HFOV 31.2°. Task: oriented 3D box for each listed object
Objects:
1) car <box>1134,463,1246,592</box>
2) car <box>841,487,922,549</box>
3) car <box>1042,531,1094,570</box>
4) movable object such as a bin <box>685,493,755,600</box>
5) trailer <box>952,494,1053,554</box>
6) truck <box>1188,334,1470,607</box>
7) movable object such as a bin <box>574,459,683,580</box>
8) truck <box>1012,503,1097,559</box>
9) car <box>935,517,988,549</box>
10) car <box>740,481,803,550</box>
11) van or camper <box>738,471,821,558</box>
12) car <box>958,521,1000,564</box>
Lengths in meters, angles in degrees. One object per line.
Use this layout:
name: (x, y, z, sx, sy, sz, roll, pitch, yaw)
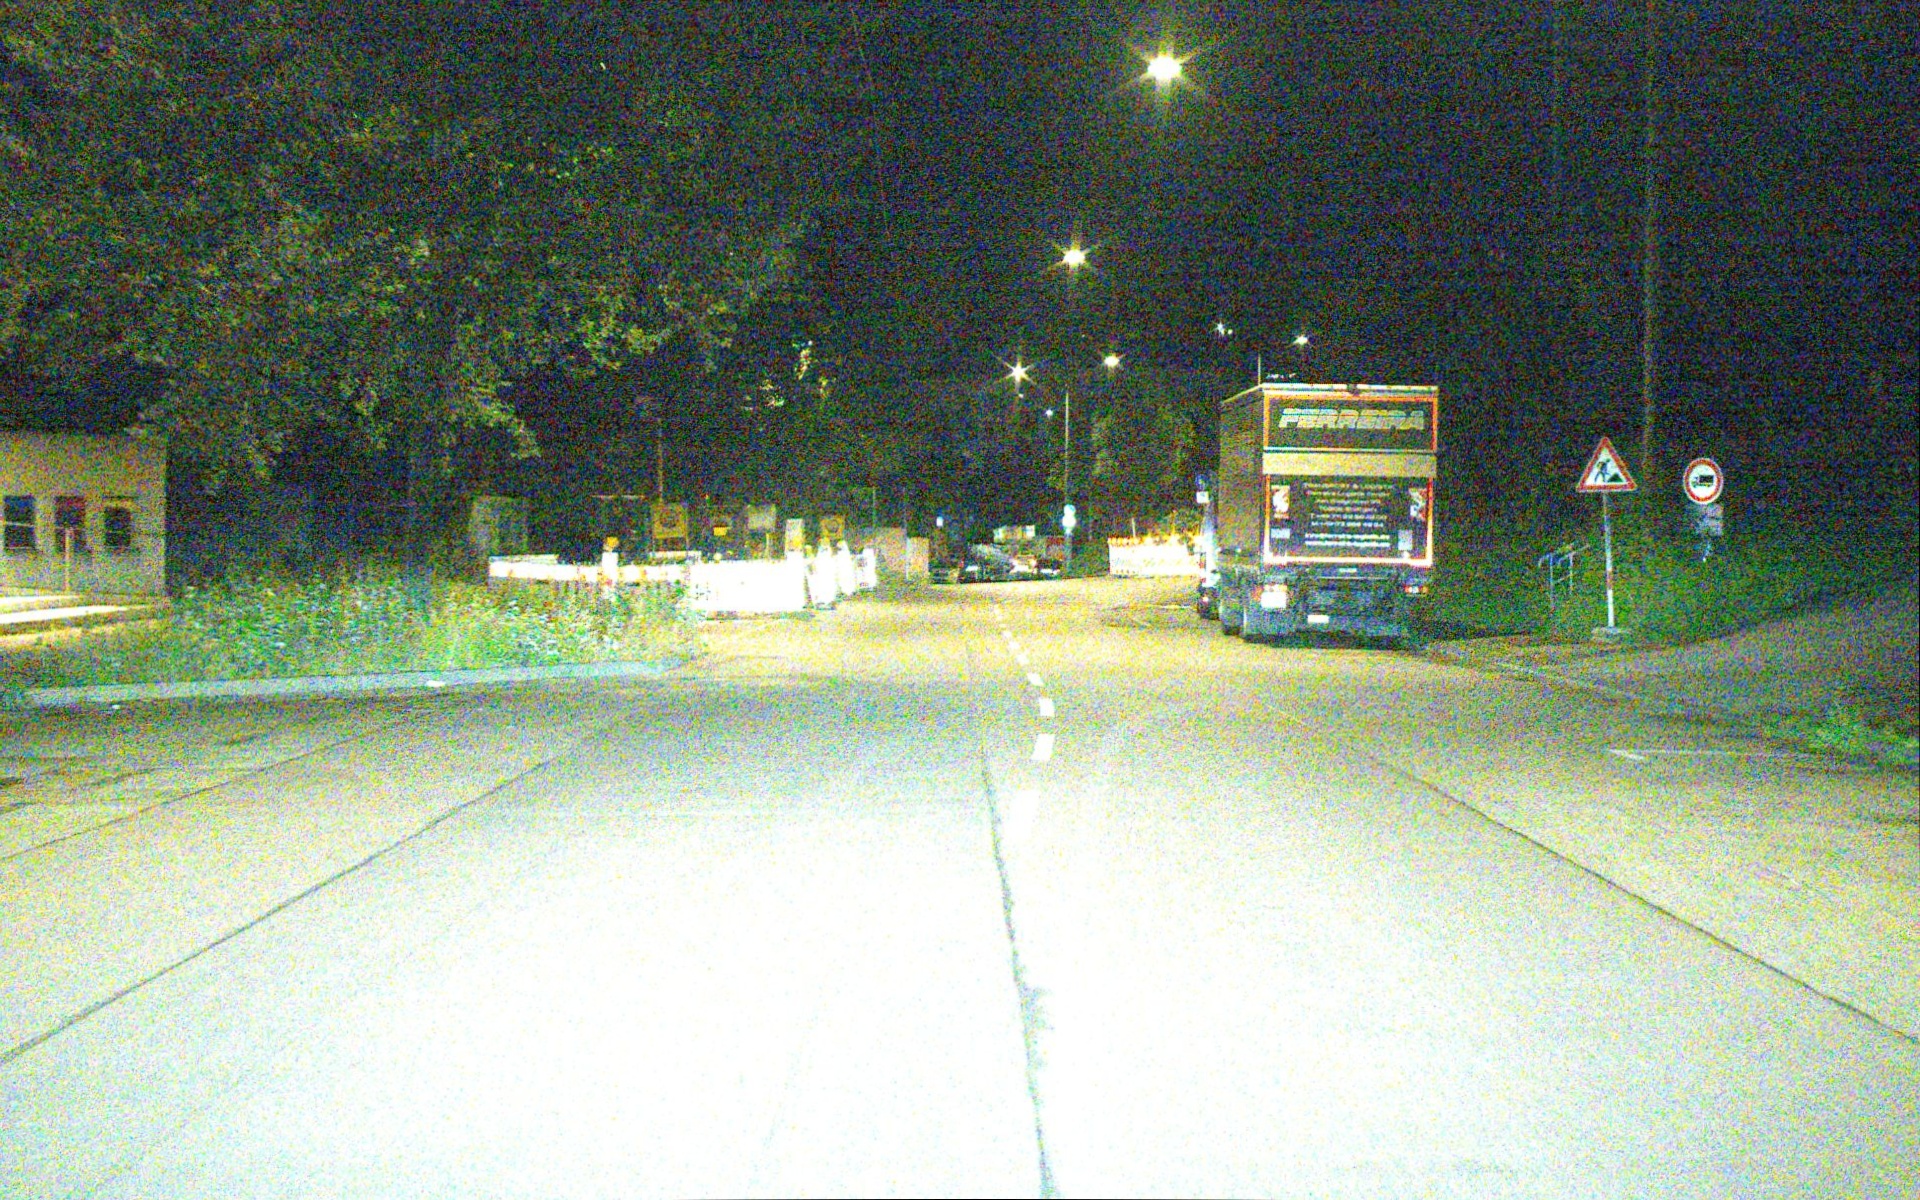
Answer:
car: (4.726, -1.509, 71.401, 2.109, 2.507, 6.371, 2, 1, 3)
car: (-4.160, -4.328, 183.414, 2.520, 3.160, 7.133, -1, 0, 14)
car: (5.525, -2.506, 174.996, 1.722, 1.815, 3.997, 2, 0, 15)
movable object such as a bin: (-6.376, -1.440, 91.062, 1.570, 2.724, 3.702, -2, 2, -7)
trailer: (1.596, -2.893, 131.837, 1.559, 2.153, 5.222, -1, 0, -27)
truck: (5.641, -1.936, 54.380, 3.324, 3.855, 9.328, 2, 1, 0)
movable object such as a bin: (-6.905, -1.649, 71.464, 1.548, 2.459, 2.840, 0, 0, -21)
truck: (6.014, -4.323, 217.621, 1.996, 3.392, 8.968, 2, 1, 24)
car: (0.111, -3.867, 199.179, 1.995, 1.694, 4.203, 1, 0, 15)
car: (-8.393, -3.741, 153.378, 2.519, 2.917, 7.202, -1, 0, -1)
van or camper: (-6.707, -3.155, 128.731, 2.519, 3.084, 7.445, -1, 0, 1)
car: (0.808, -2.440, 146.684, 1.720, 1.655, 4.000, 2, 0, 1)
